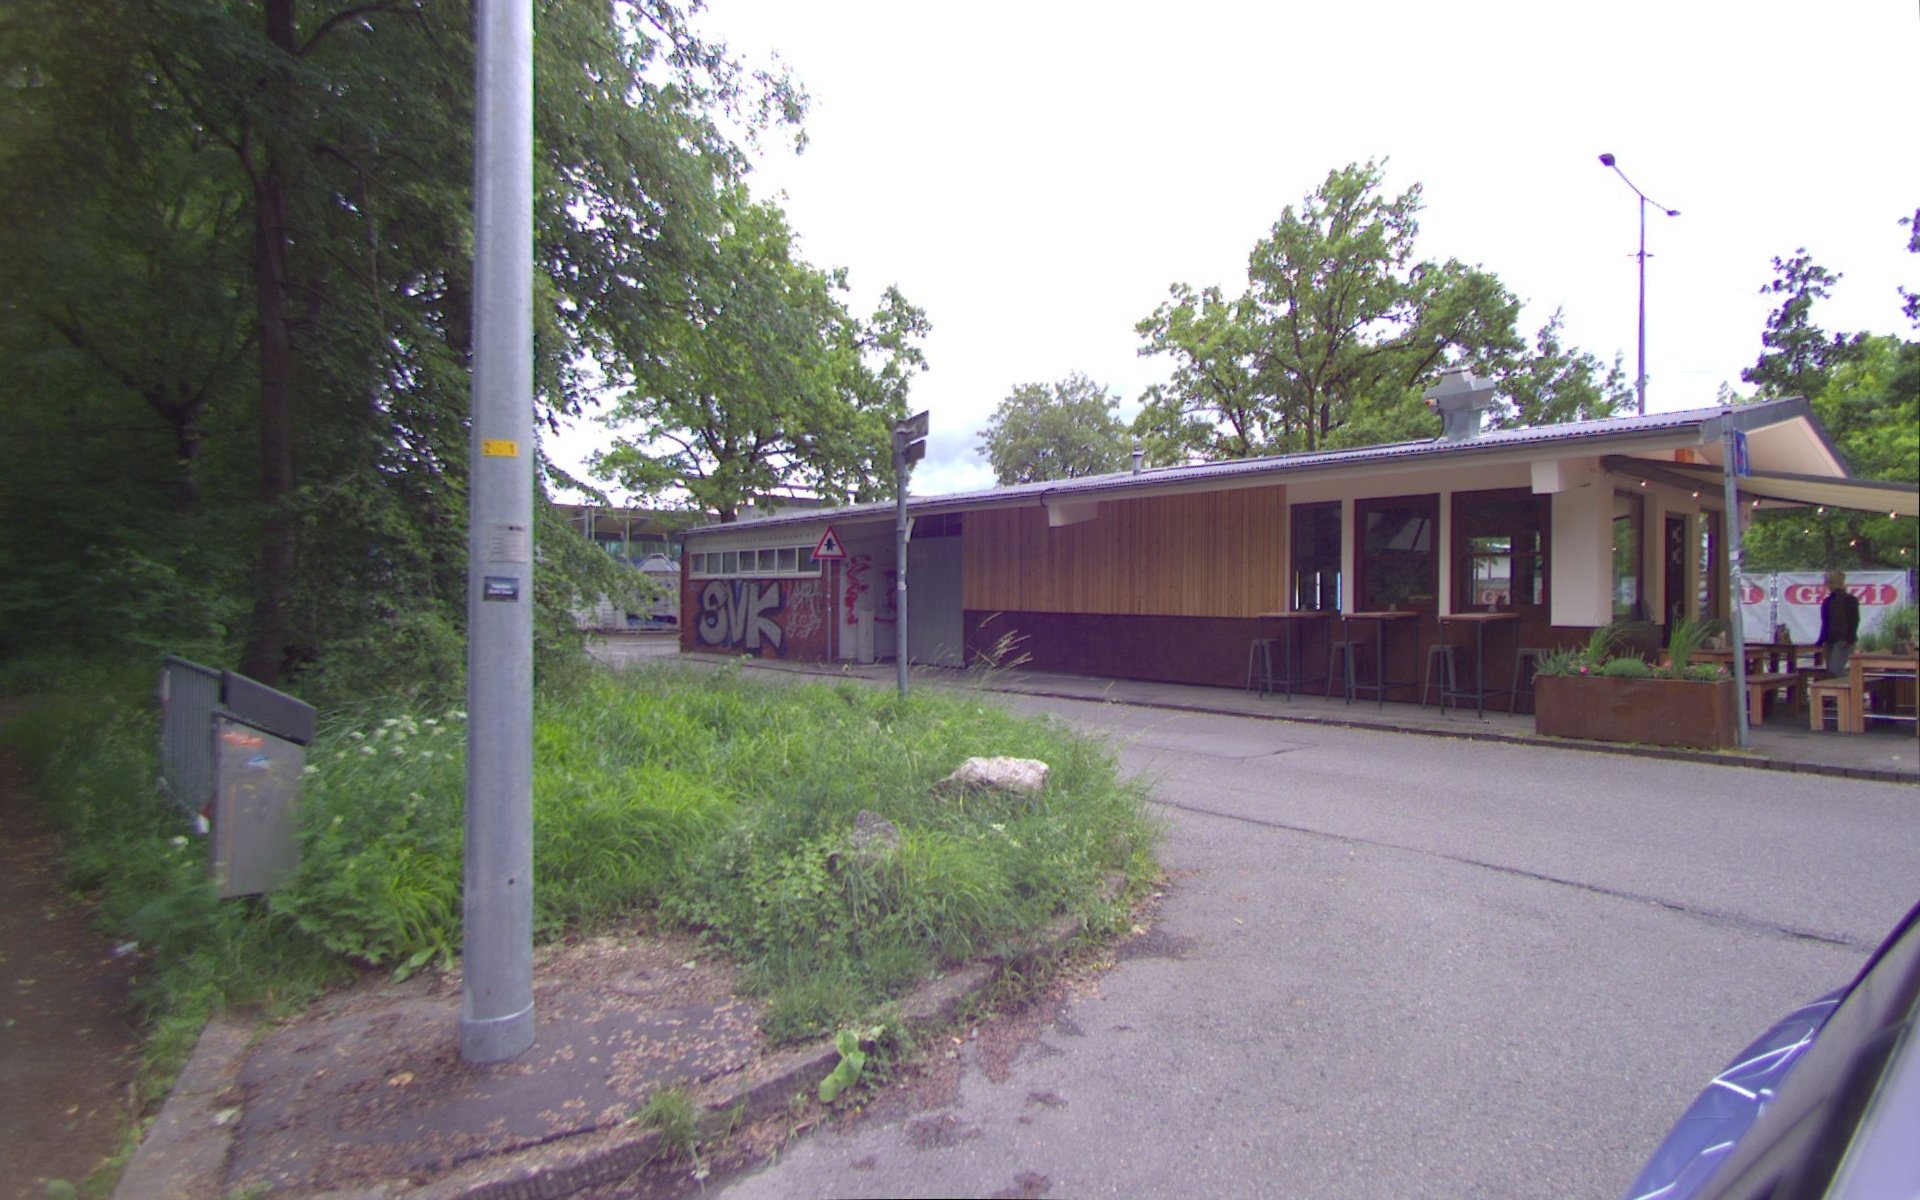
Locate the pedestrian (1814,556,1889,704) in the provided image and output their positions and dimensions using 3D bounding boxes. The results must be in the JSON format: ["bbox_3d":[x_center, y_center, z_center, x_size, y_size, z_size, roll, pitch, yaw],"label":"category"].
[{"bbox_3d":[10.463,0.337,11.883,0.584,1.688,0.531,0,-1,-36],"label":"pedestrian"}]
